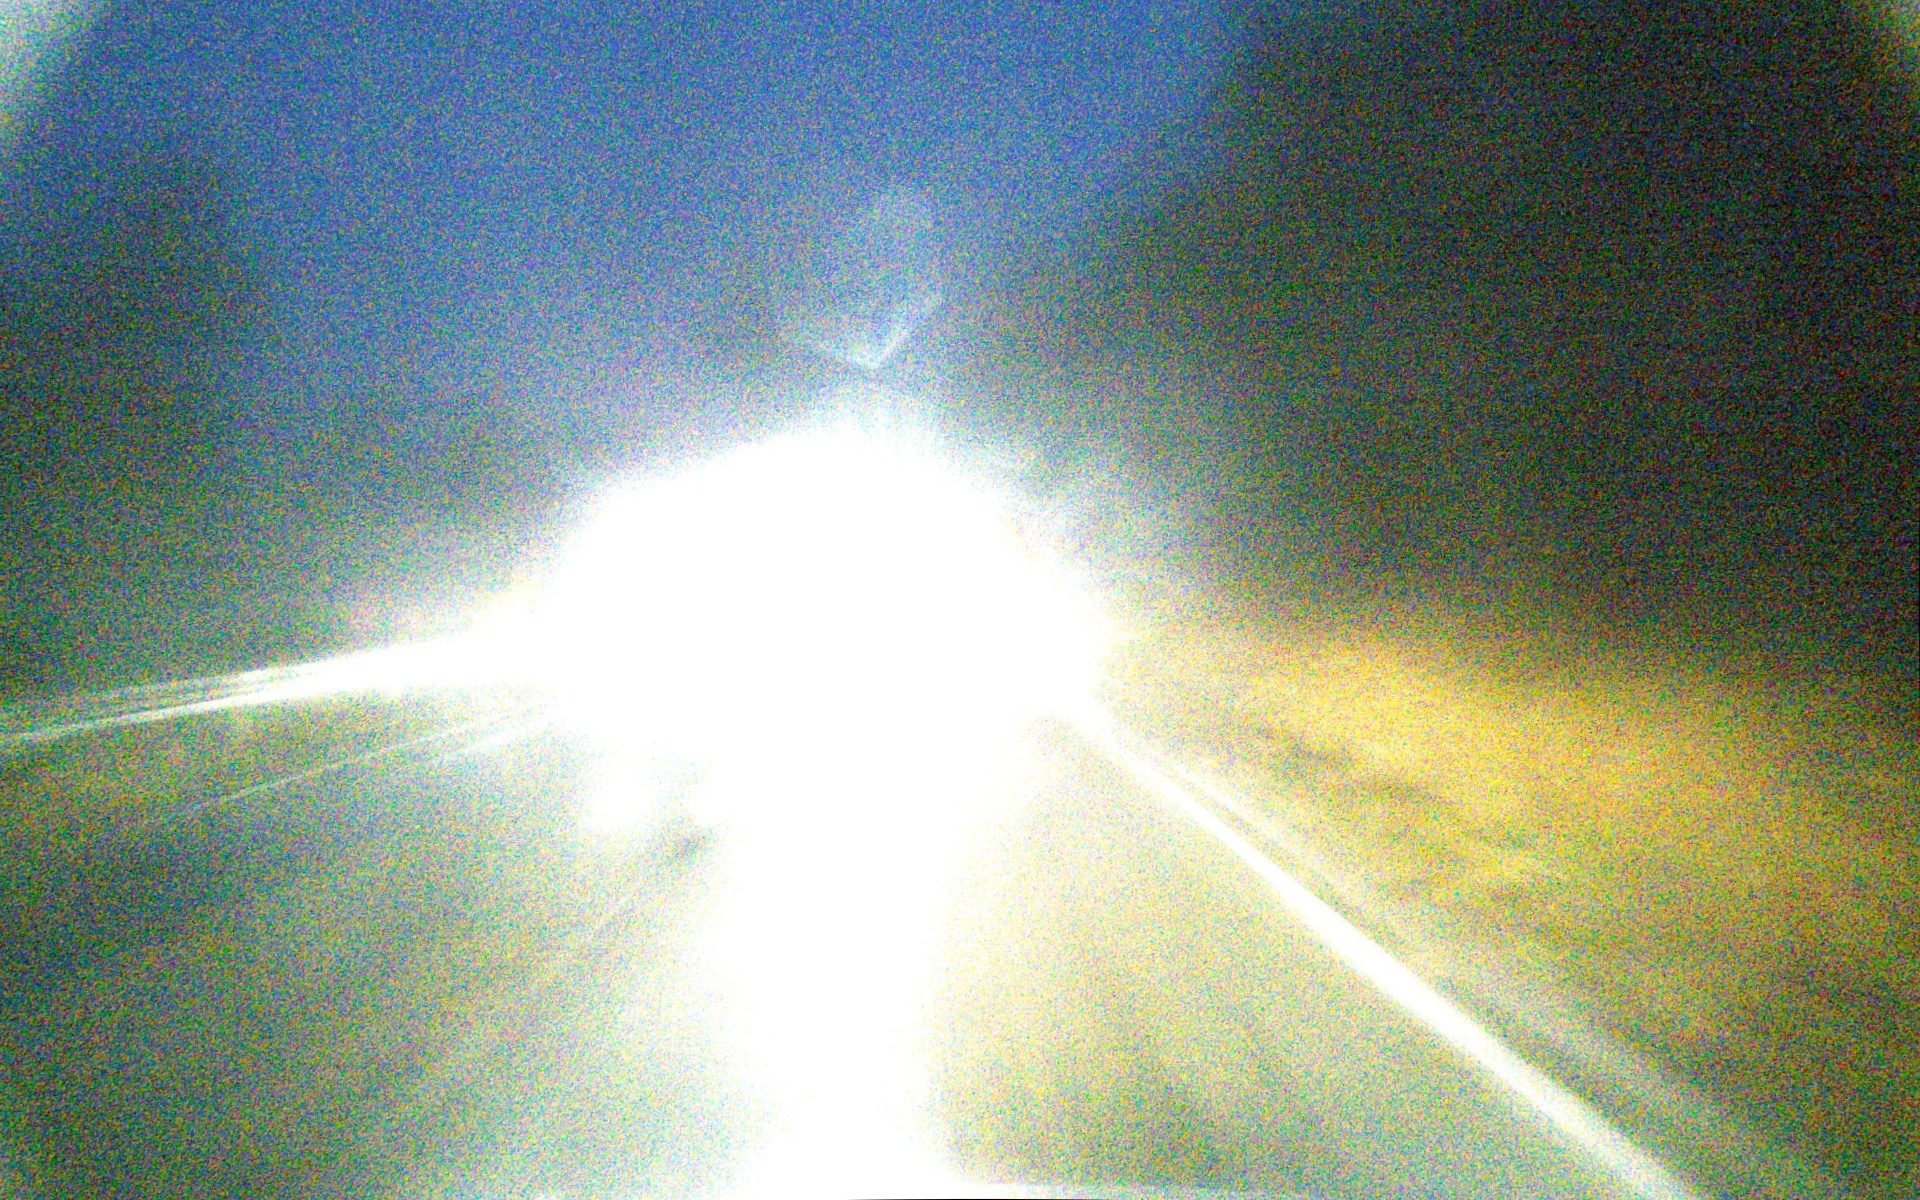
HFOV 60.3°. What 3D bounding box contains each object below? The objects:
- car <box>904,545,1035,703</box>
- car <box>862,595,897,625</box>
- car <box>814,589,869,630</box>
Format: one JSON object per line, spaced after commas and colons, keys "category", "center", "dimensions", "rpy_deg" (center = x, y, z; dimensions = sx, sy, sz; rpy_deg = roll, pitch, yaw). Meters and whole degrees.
{"category": "car", "center": [0.125, 0.339, 30.441], "dimensions": [2.137, 2.601, 4.508], "rpy_deg": [2, 2, -1]}
{"category": "car", "center": [-4.330, 0.526, 89.283], "dimensions": [1.749, 1.537, 3.599], "rpy_deg": [1, 0, -1]}
{"category": "car", "center": [-4.622, 0.344, 65.199], "dimensions": [1.935, 1.542, 4.346], "rpy_deg": [0, 0, -1]}
